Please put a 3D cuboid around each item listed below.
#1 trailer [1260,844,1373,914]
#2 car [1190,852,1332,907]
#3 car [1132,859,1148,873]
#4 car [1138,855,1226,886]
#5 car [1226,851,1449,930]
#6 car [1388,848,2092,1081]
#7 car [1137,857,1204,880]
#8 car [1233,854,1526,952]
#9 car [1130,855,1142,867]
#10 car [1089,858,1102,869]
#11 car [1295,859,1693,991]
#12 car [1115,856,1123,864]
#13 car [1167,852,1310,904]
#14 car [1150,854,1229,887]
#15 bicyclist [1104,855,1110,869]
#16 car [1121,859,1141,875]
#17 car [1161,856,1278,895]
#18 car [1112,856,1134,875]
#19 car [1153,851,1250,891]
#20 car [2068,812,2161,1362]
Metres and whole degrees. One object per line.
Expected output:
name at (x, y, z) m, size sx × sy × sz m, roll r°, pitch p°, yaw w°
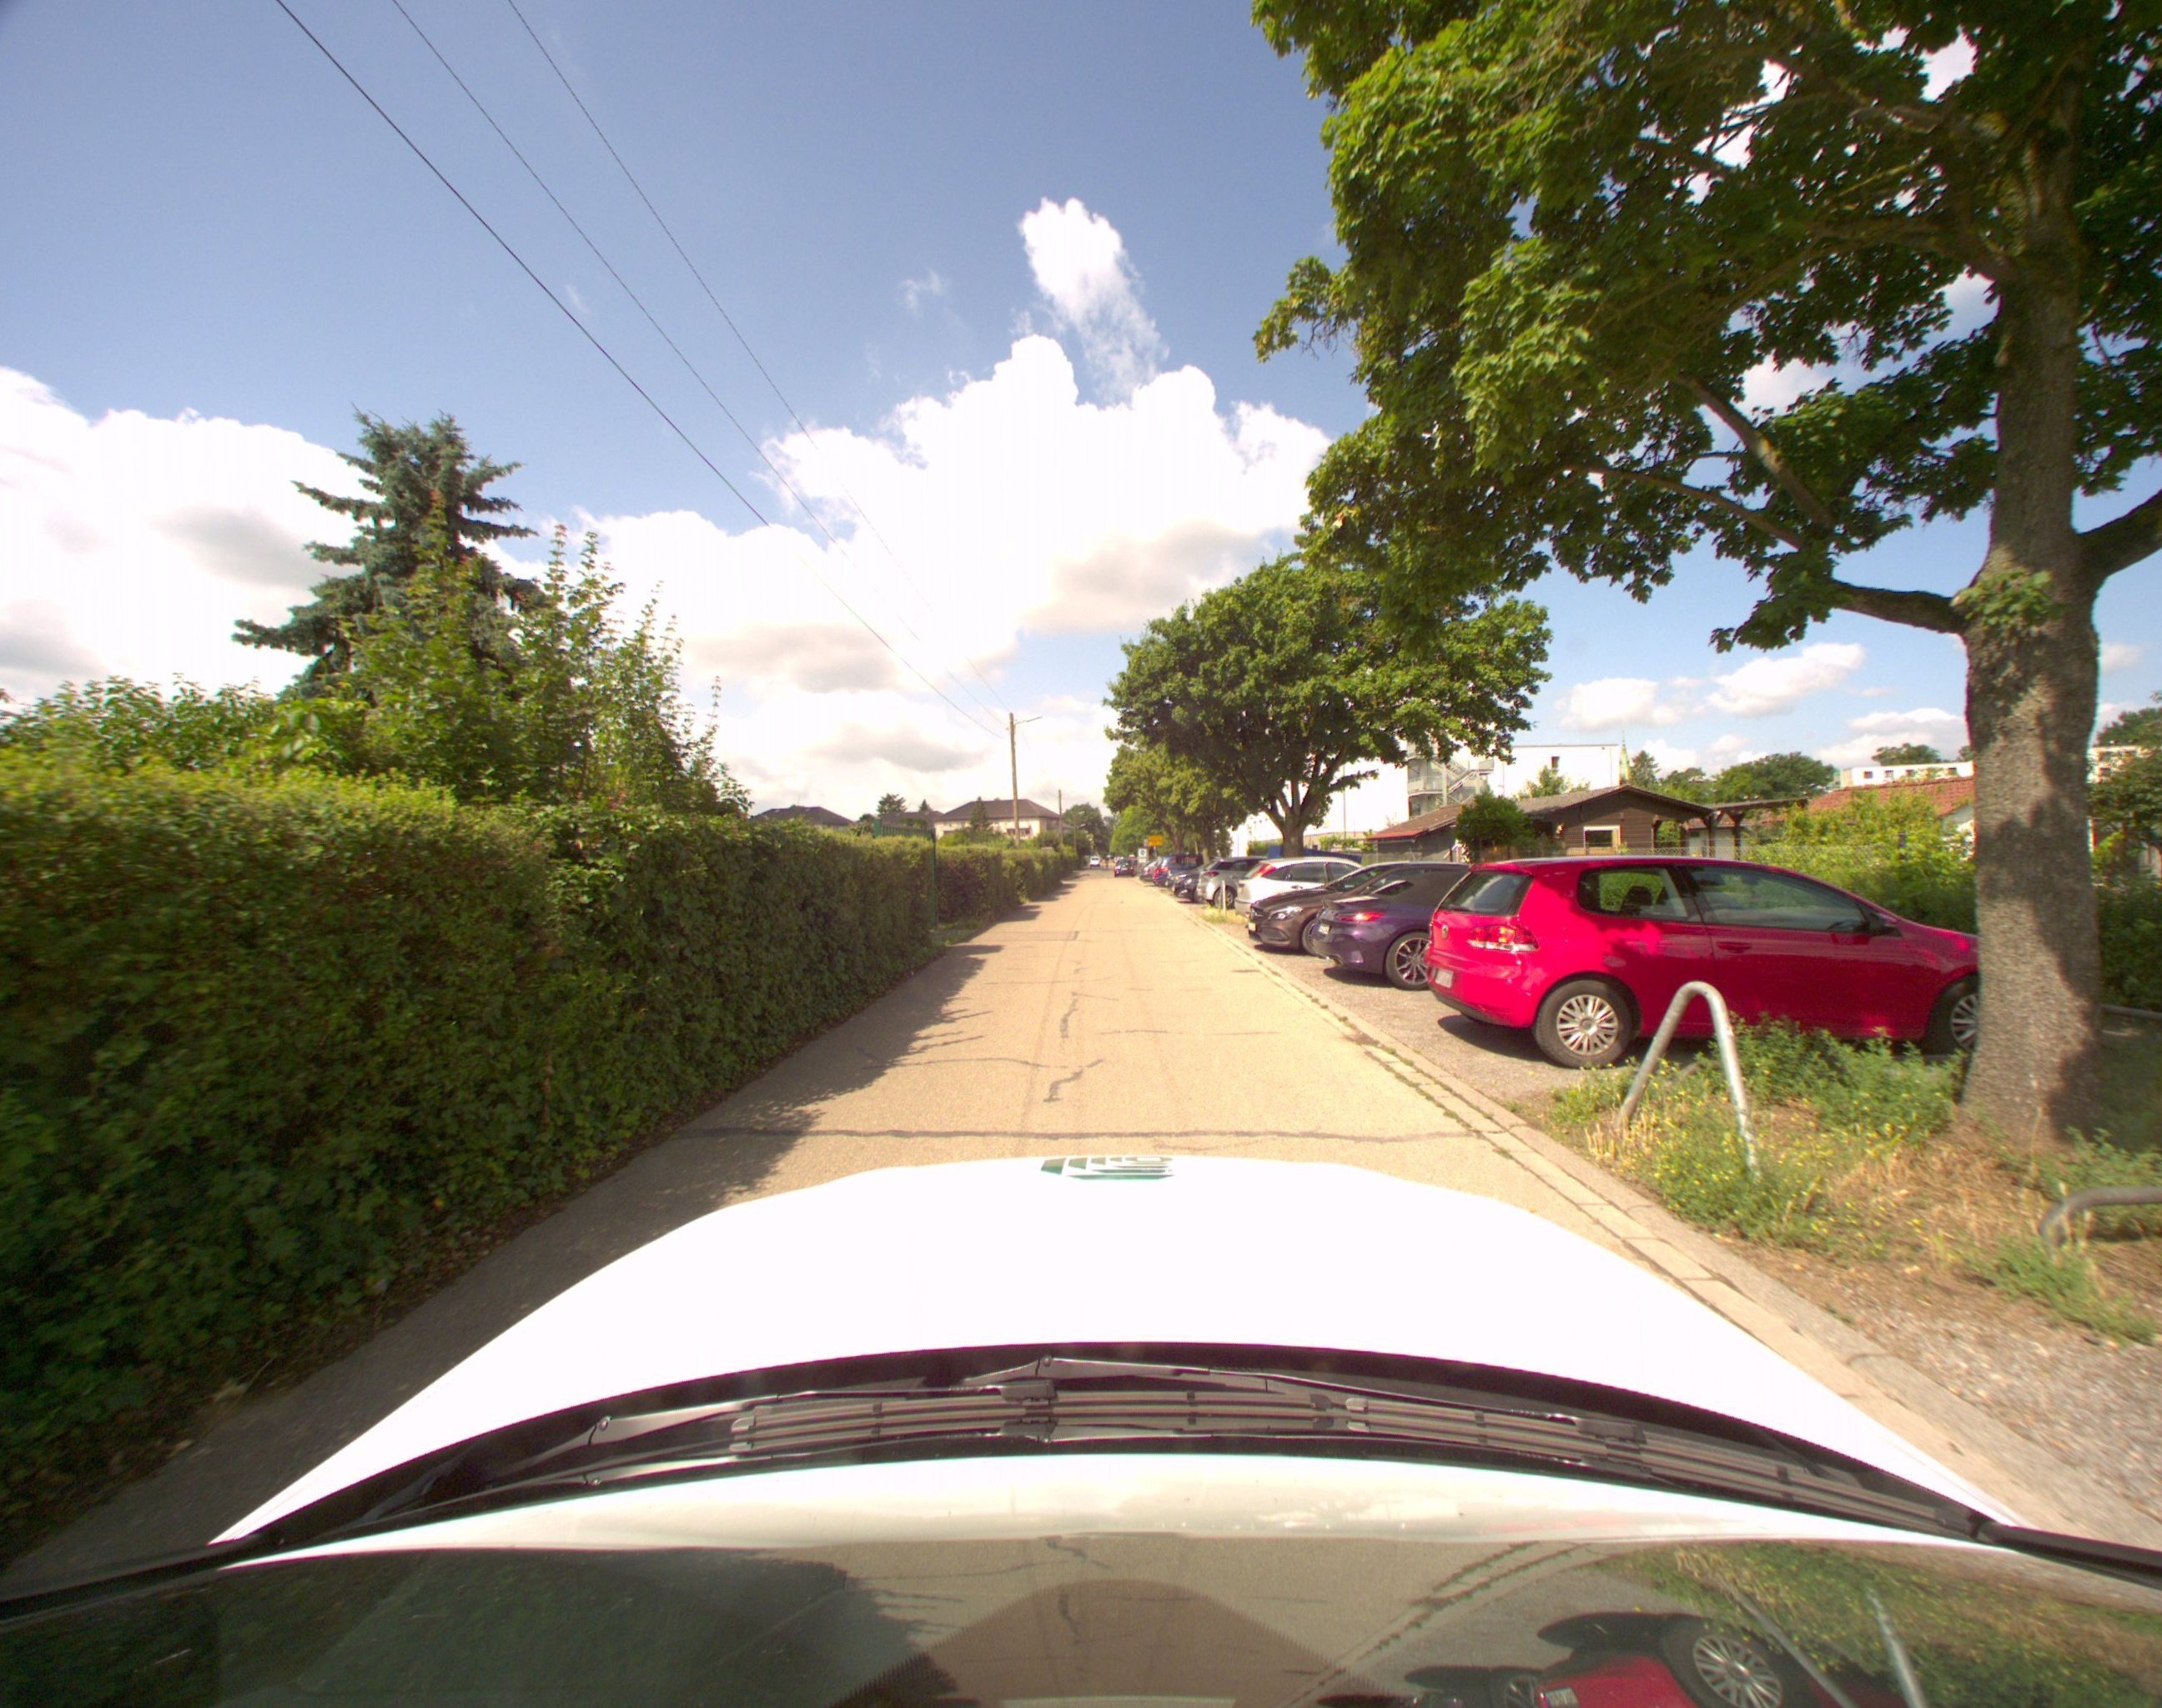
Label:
trailer at (5.977, 0.619, 20.876) m, size 2.444 × 1.720 × 1.517 m, roll 0°, pitch 0°, yaw -3°
car at (5.185, 0.730, 23.777) m, size 3.713 × 1.540 × 1.848 m, roll 0°, pitch -1°, yaw -2°
car at (6.557, 1.338, 90.579) m, size 1.656 × 1.435 × 3.544 m, roll 0°, pitch -1°, yaw 3°
car at (5.369, 0.879, 43.607) m, size 4.534 × 1.578 × 1.808 m, roll 0°, pitch -1°, yaw 0°
car at (5.099, 0.711, 16.693) m, size 4.046 × 1.511 × 1.960 m, roll 0°, pitch -1°, yaw 4°
car at (4.713, 0.731, 6.407) m, size 3.968 × 1.520 × 1.857 m, roll 0°, pitch -1°, yaw 4°
car at (5.969, 0.965, 54.336) m, size 4.337 × 1.392 × 1.721 m, roll -2°, pitch -1°, yaw 5°
car at (4.641, 0.745, 13.093) m, size 4.053 × 1.455 × 1.869 m, roll 0°, pitch -1°, yaw -1°
car at (9.125, 1.160, 135.031) m, size 2.049 × 1.926 × 4.546 m, roll 0°, pitch -1°, yaw 4°
car at (2.493, 1.545, 136.988) m, size 1.894 × 1.814 × 4.004 m, roll 0°, pitch -1°, yaw 4°
car at (4.757, 0.778, 9.921) m, size 3.892 × 1.424 × 1.960 m, roll 0°, pitch -1°, yaw 4°
car at (9.998, 1.532, 216.279) m, size 1.986 × 2.014 × 4.001 m, roll 0°, pitch -1°, yaw 1°
car at (5.005, 0.767, 26.364) m, size 4.287 × 1.594 × 2.000 m, roll 0°, pitch -1°, yaw 0°
car at (5.447, 0.829, 41.195) m, size 3.795 × 1.532 × 1.762 m, roll -2°, pitch -1°, yaw 1°
bicyclist at (3.498, 1.129, 110.756) m, size 0.656 × 1.852 × 1.044 m, roll -3°, pitch -1°, yaw 4°
car at (4.930, 1.260, 79.806) m, size 1.654 × 1.552 × 3.646 m, roll 0°, pitch -1°, yaw 9°
car at (5.362, 0.831, 31.929) m, size 4.320 × 1.492 × 1.975 m, roll 0°, pitch -1°, yaw 0°
car at (3.552, 0.937, 68.268) m, size 1.655 × 1.506 × 4.007 m, roll 0°, pitch -1°, yaw 6°
car at (5.421, 0.770, 37.009) m, size 4.139 × 1.637 × 1.879 m, roll -2°, pitch -1°, yaw 1°
car at (4.952, 0.662, 1.600) m, size 3.751 × 1.574 × 1.870 m, roll 0°, pitch -1°, yaw 0°
